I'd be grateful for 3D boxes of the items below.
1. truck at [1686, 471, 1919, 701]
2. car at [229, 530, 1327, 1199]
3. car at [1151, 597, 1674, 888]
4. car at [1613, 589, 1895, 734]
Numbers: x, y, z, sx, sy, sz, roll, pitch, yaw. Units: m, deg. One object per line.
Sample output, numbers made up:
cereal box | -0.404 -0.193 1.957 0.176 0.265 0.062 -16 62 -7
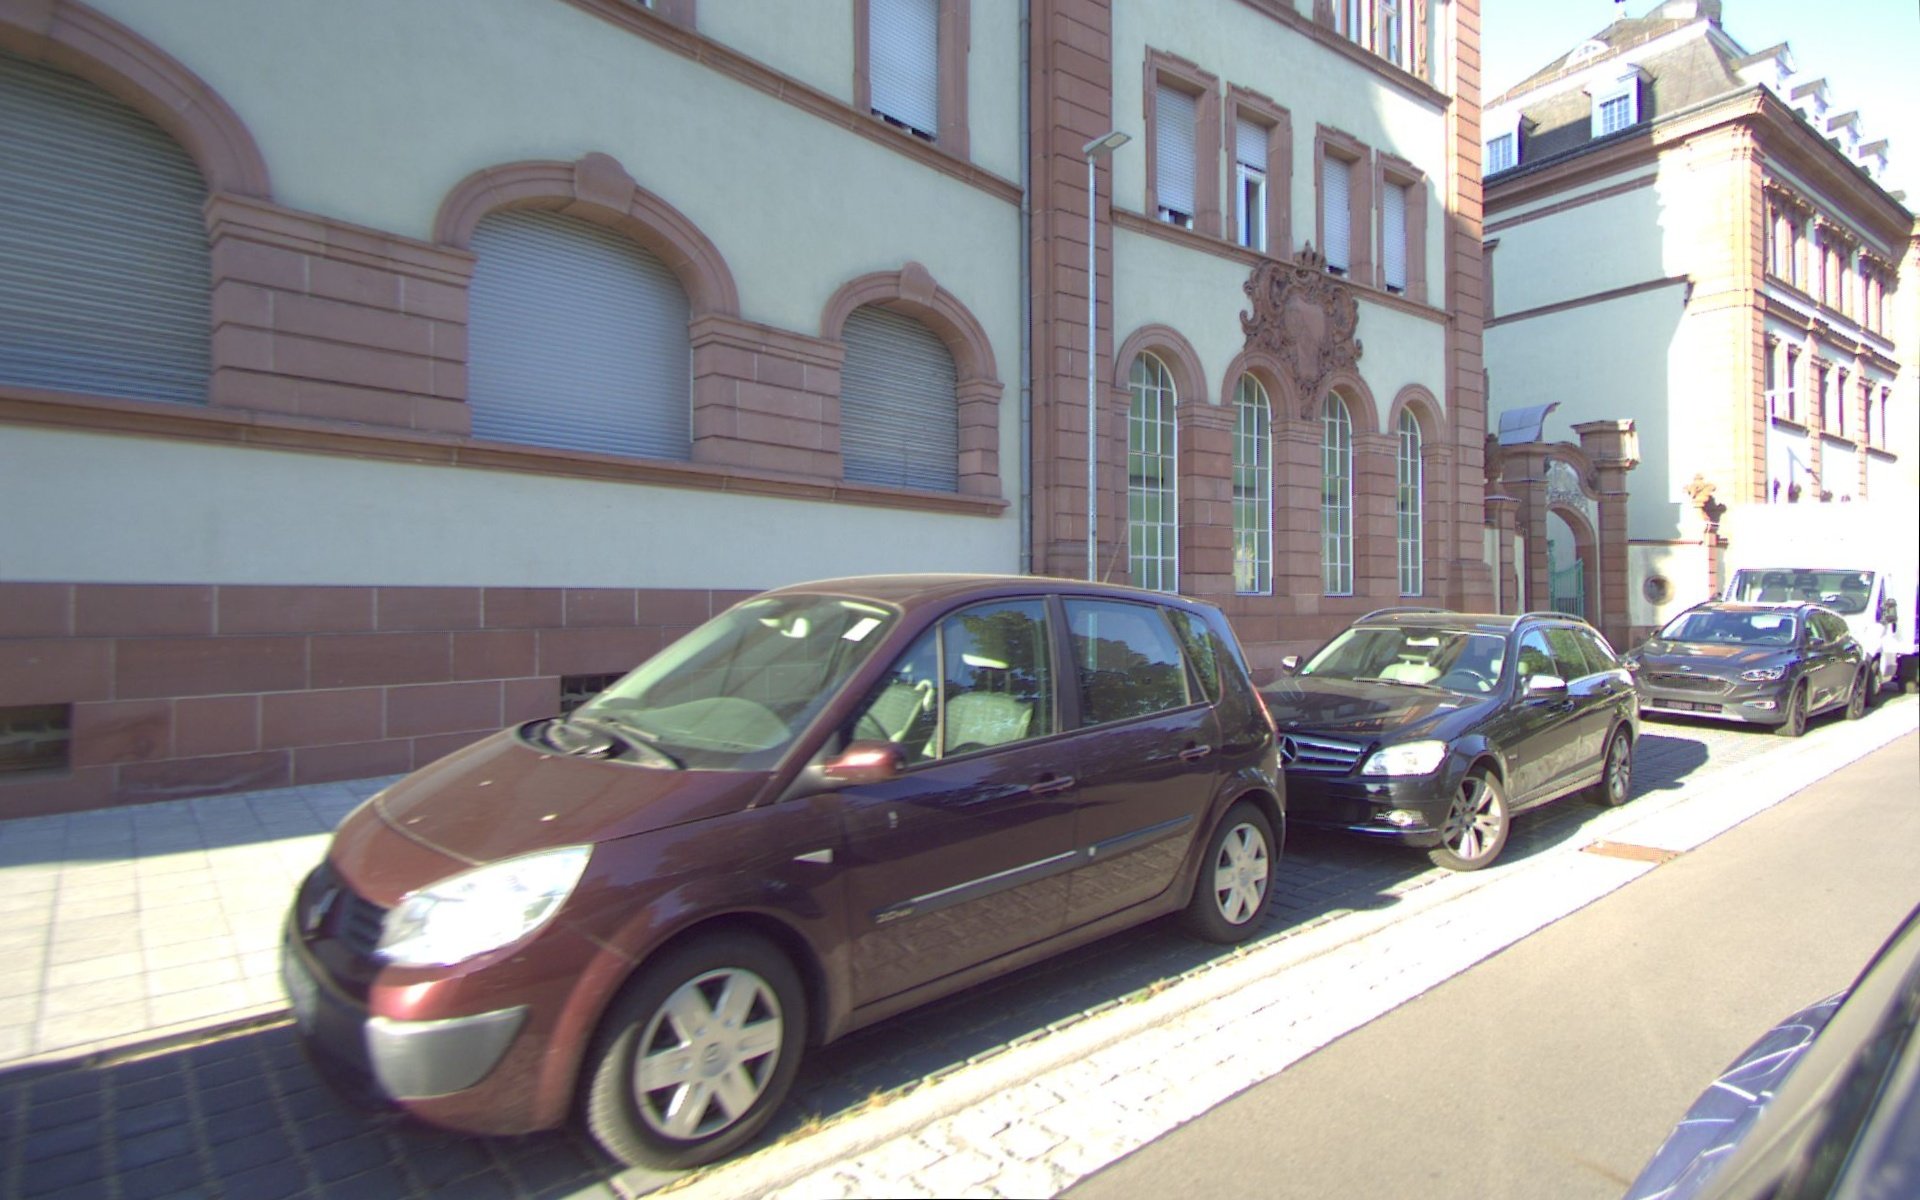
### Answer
truck | 14.615 -0.245 16.853 5.978 3.160 2.629 0 1 -39
car | -0.354 0.642 4.147 4.121 1.622 1.818 -1 1 -43
car | 3.526 0.731 7.433 4.445 1.454 1.874 -1 1 -42
car | 10.300 0.642 13.013 4.487 1.550 1.773 -1 1 -37
